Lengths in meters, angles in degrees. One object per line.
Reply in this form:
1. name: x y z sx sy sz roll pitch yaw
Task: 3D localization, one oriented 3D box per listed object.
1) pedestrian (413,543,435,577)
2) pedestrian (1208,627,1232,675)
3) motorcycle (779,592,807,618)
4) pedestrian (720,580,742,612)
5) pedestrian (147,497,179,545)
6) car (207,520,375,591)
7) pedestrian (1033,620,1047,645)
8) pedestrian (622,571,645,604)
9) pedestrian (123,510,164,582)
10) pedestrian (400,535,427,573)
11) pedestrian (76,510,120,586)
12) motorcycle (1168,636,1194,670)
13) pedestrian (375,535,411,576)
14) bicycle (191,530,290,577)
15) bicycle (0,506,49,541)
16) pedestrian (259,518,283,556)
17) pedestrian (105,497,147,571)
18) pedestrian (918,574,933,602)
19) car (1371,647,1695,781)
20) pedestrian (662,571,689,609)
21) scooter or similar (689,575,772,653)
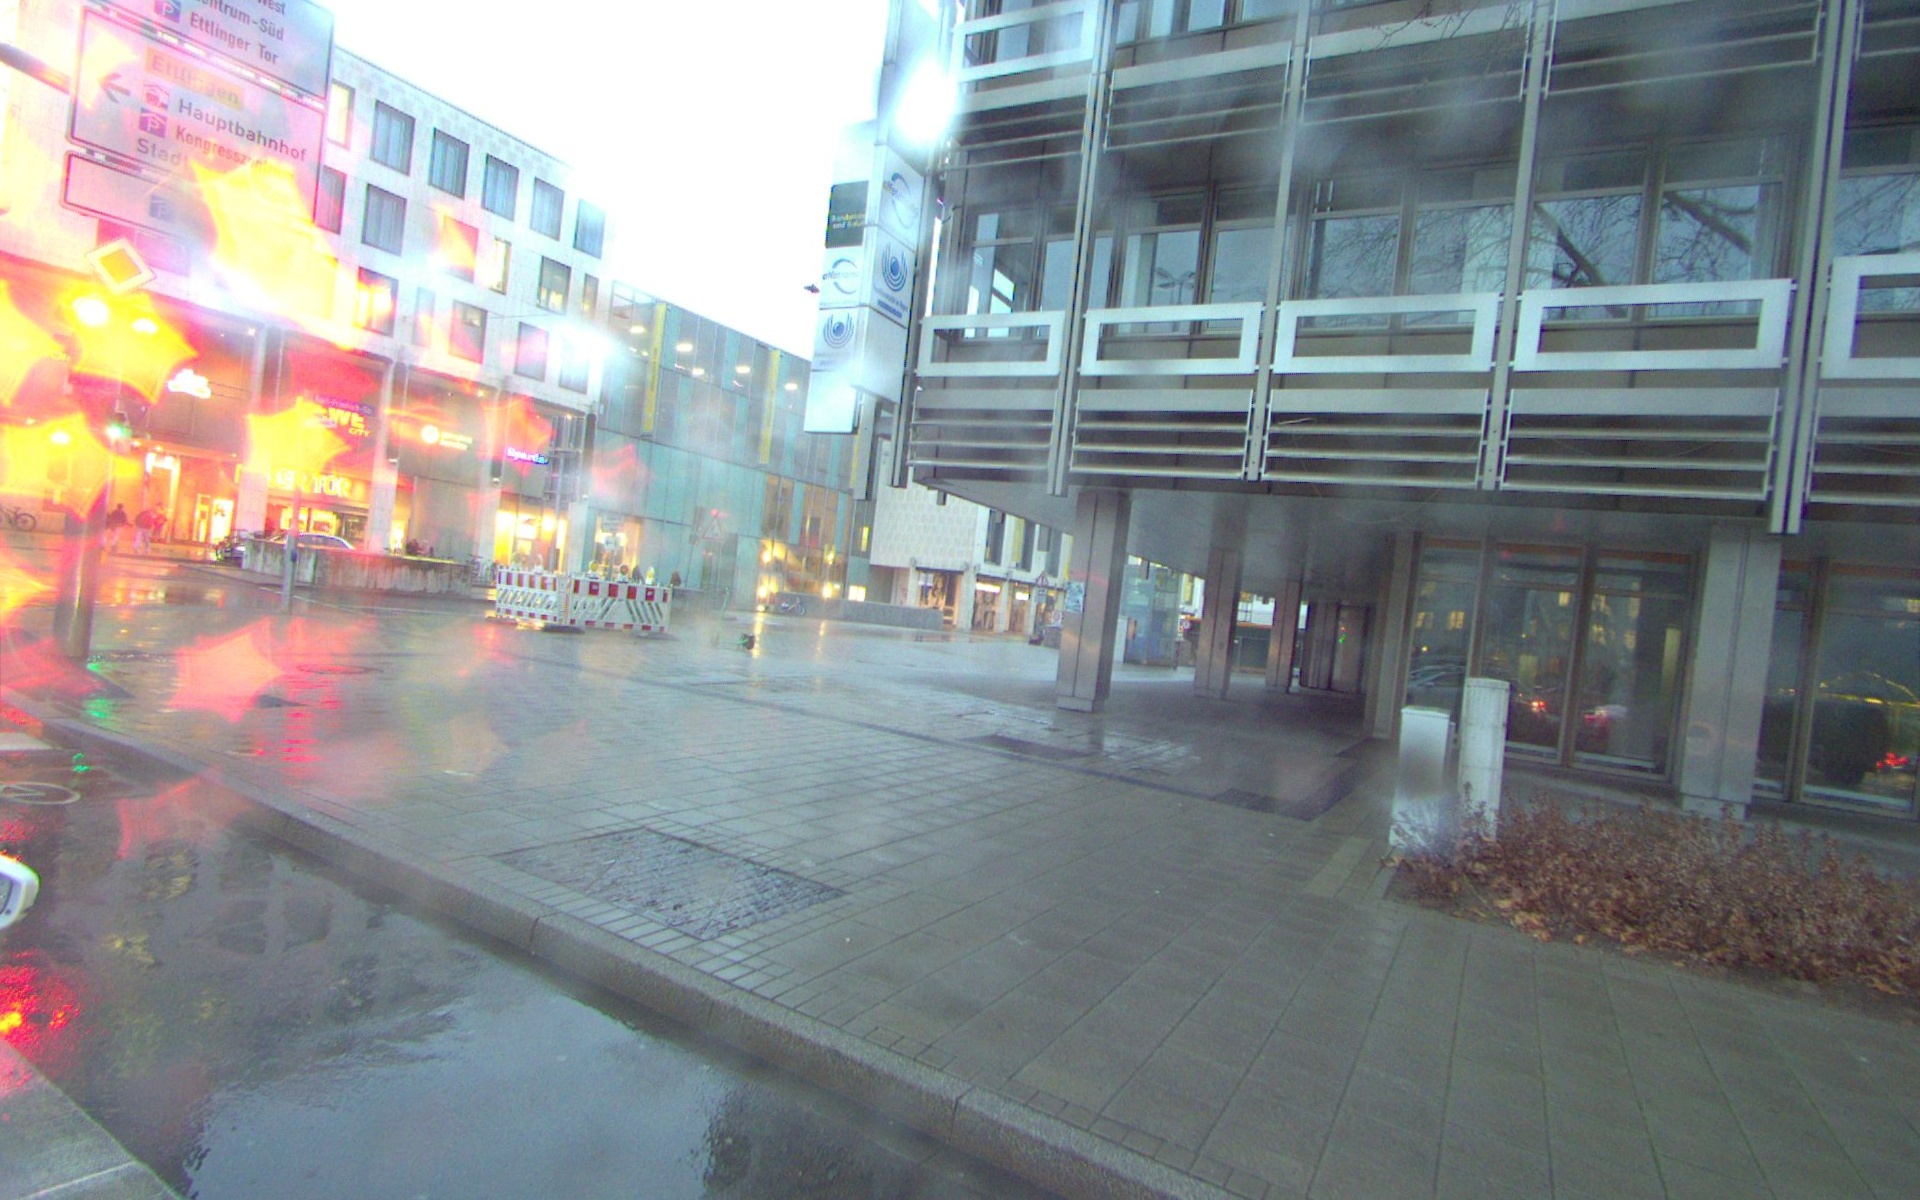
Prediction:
1. pedestrian: -25.344 -1.901 47.589 0.511 1.512 0.586 6 0 34
2. pedestrian: 10.227 2.021 39.561 0.678 1.796 0.660 7 -1 16
3. motorcycle: -10.145 0.291 61.147 0.585 1.368 1.491 7 -1 36
4. pedestrian: -13.177 -0.216 57.945 0.770 1.703 0.742 6 -1 38
5. pedestrian: -36.005 -3.584 45.441 0.688 2.039 0.845 7 1 40
6. car: -21.661 -1.404 32.712 1.968 1.636 3.994 6 -2 33
7. pedestrian: 5.771 2.342 72.664 0.573 1.703 0.542 6 -1 38
8. pedestrian: -18.109 -0.702 55.850 0.770 1.703 0.742 6 -1 38
9. pedestrian: -29.448 -1.958 36.287 0.778 2.477 0.694 7 -1 32
10. pedestrian: -26.498 -2.216 48.758 0.519 1.705 0.894 6 0 31
11. pedestrian: -29.640 -1.790 34.599 0.745 2.469 0.716 7 -1 31
12. motorcycle: 9.720 2.346 44.189 0.584 1.368 1.493 7 -1 29
13. pedestrian: -26.025 -2.043 46.183 0.810 1.703 1.032 6 -1 31
14. bicycle: -26.328 -1.685 36.866 0.941 1.375 2.718 6 -1 28
15. bicycle: -36.325 -2.967 38.745 0.515 1.082 1.651 7 -2 28
16. pedestrian: -32.875 -2.994 48.009 0.729 1.740 0.733 6 1 -31
17. pedestrian: -29.283 -2.326 35.305 0.745 2.469 0.691 7 -1 31
18. pedestrian: -2.210 -0.777 64.077 0.573 1.703 0.542 6 -1 38
19. car: 8.588 1.631 15.305 3.935 1.327 1.994 6 1 33
20. pedestrian: -13.468 -0.471 47.649 0.770 1.703 0.742 6 -1 38
21. scooter or similar: -4.606 0.282 20.197 1.470 1.368 0.593 7 -1 32
